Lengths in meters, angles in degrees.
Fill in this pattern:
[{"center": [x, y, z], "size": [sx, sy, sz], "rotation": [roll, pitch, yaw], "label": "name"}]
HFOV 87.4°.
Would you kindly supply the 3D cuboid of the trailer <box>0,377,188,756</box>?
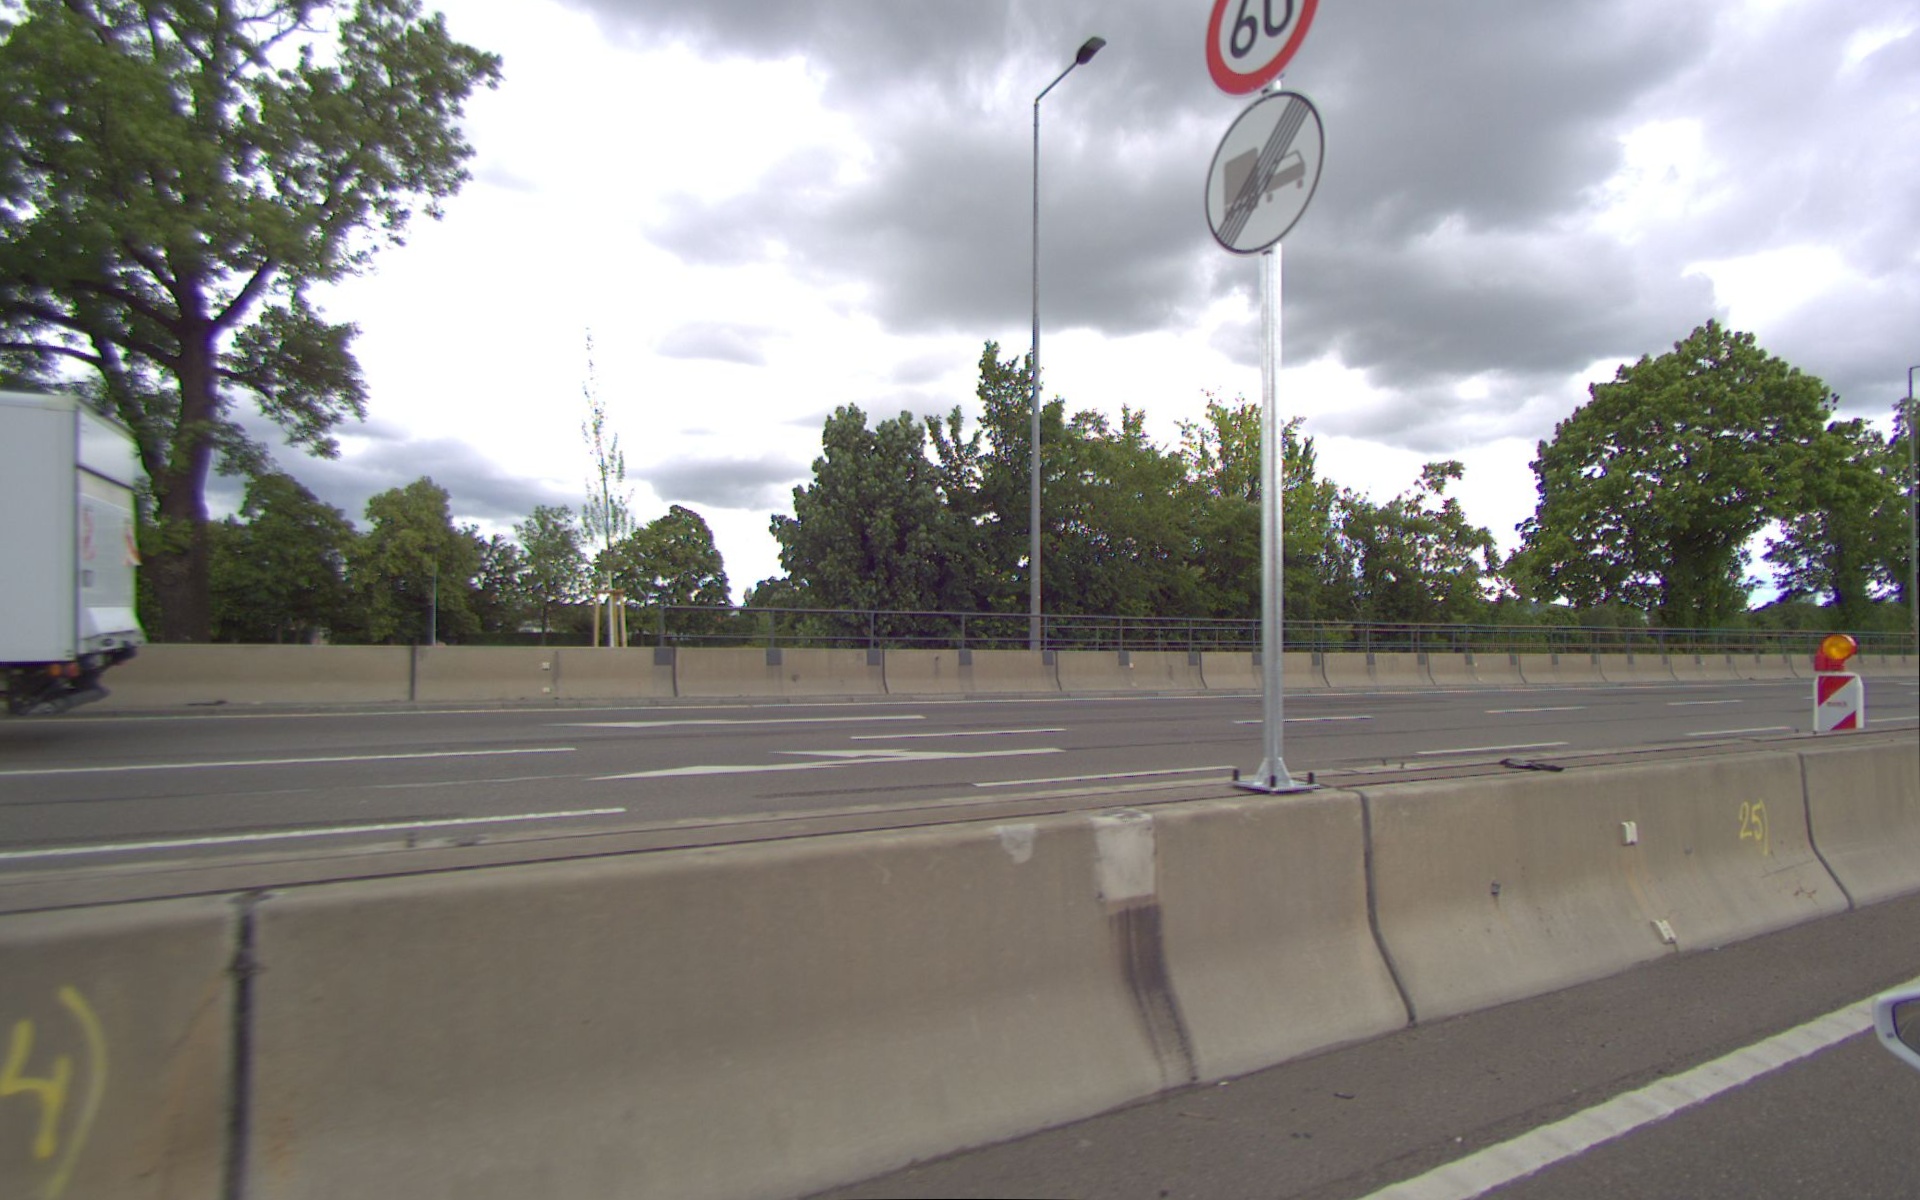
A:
[{"center": [-10.300, -0.352, 8.464], "size": [5.644, 3.179, 2.262], "rotation": [2, -1, -30], "label": "trailer"}]
